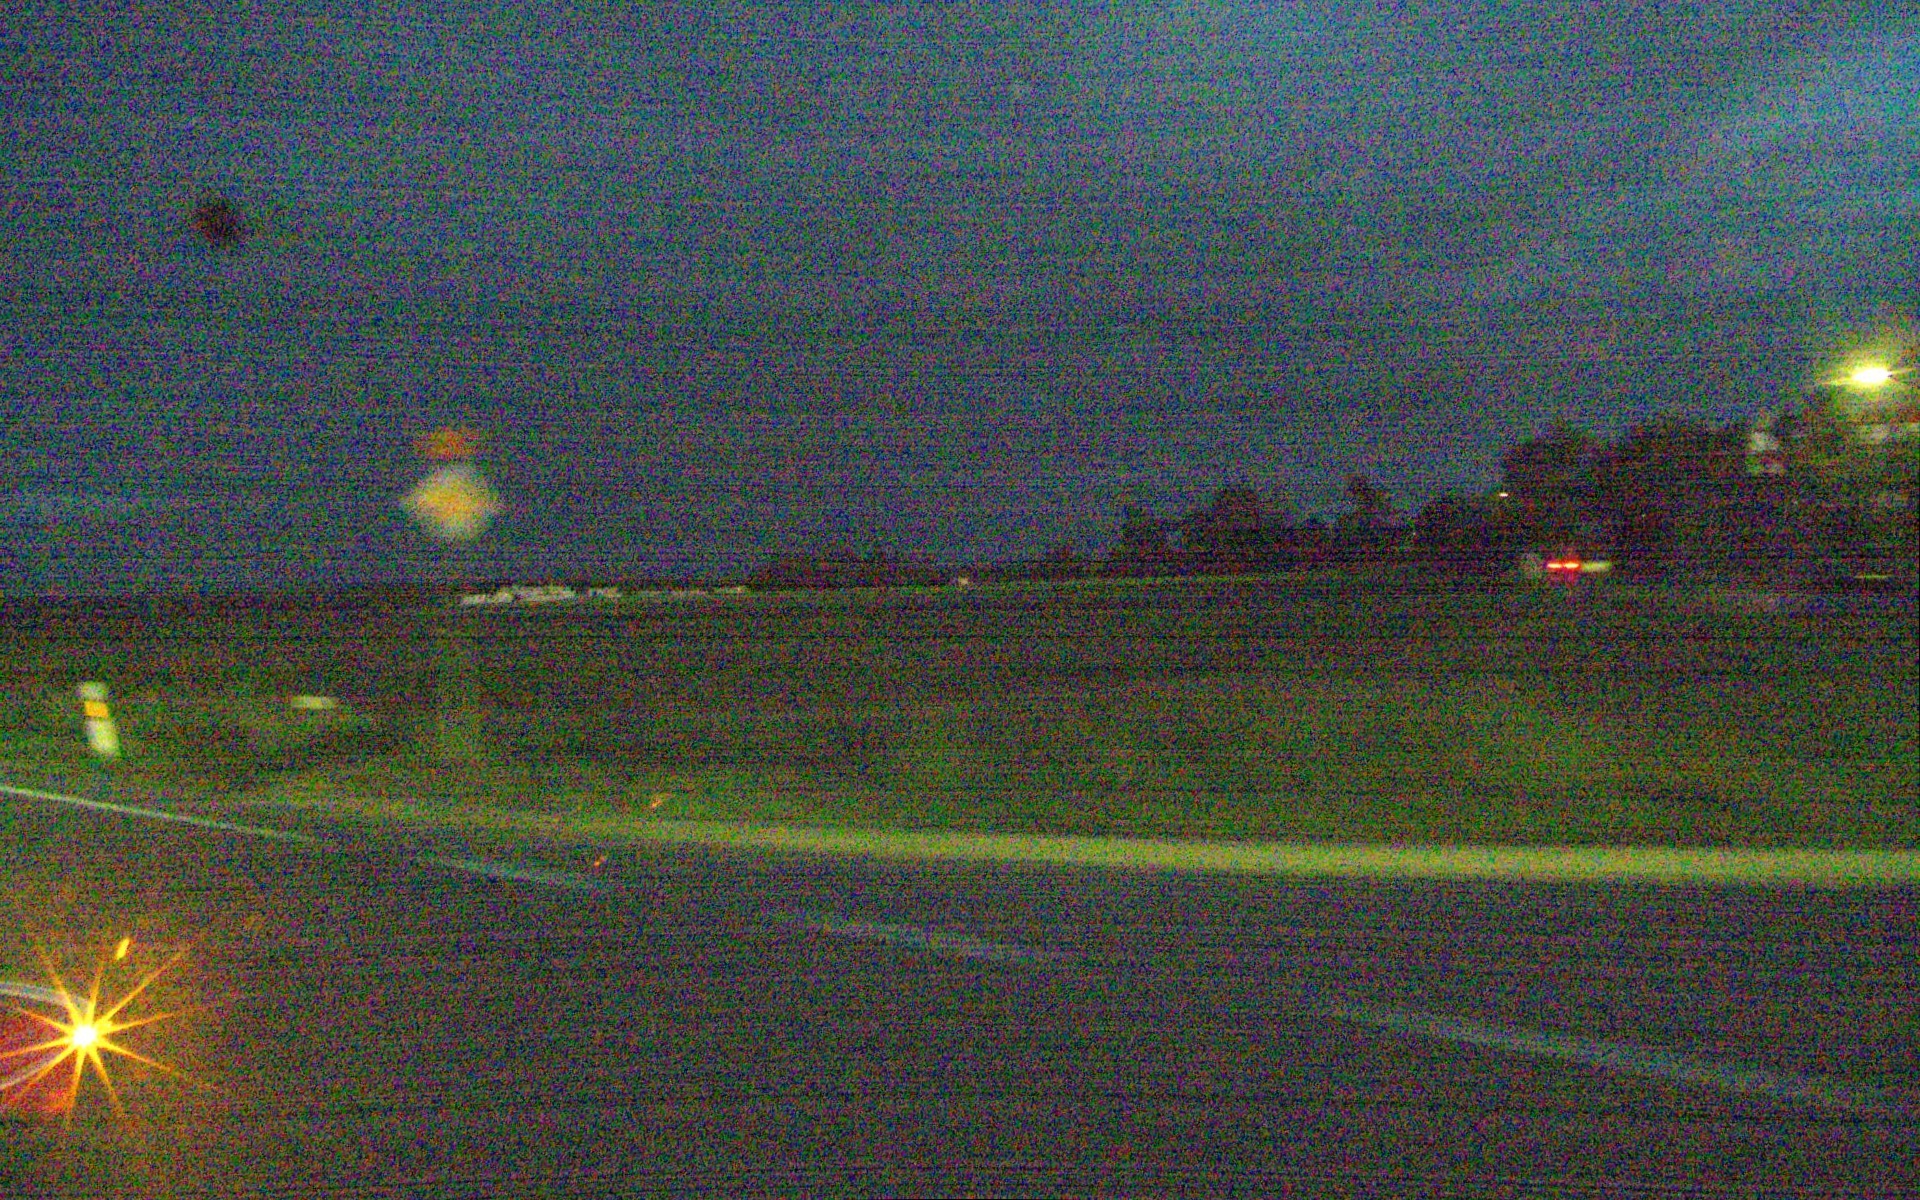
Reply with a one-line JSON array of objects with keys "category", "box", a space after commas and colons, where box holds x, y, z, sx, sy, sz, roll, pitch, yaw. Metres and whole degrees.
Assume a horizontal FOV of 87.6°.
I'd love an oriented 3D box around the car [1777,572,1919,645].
[{"category": "car", "box": [22.773, 0.176, 24.083, 1.972, 1.686, 4.452, -2, 1, -31]}]
